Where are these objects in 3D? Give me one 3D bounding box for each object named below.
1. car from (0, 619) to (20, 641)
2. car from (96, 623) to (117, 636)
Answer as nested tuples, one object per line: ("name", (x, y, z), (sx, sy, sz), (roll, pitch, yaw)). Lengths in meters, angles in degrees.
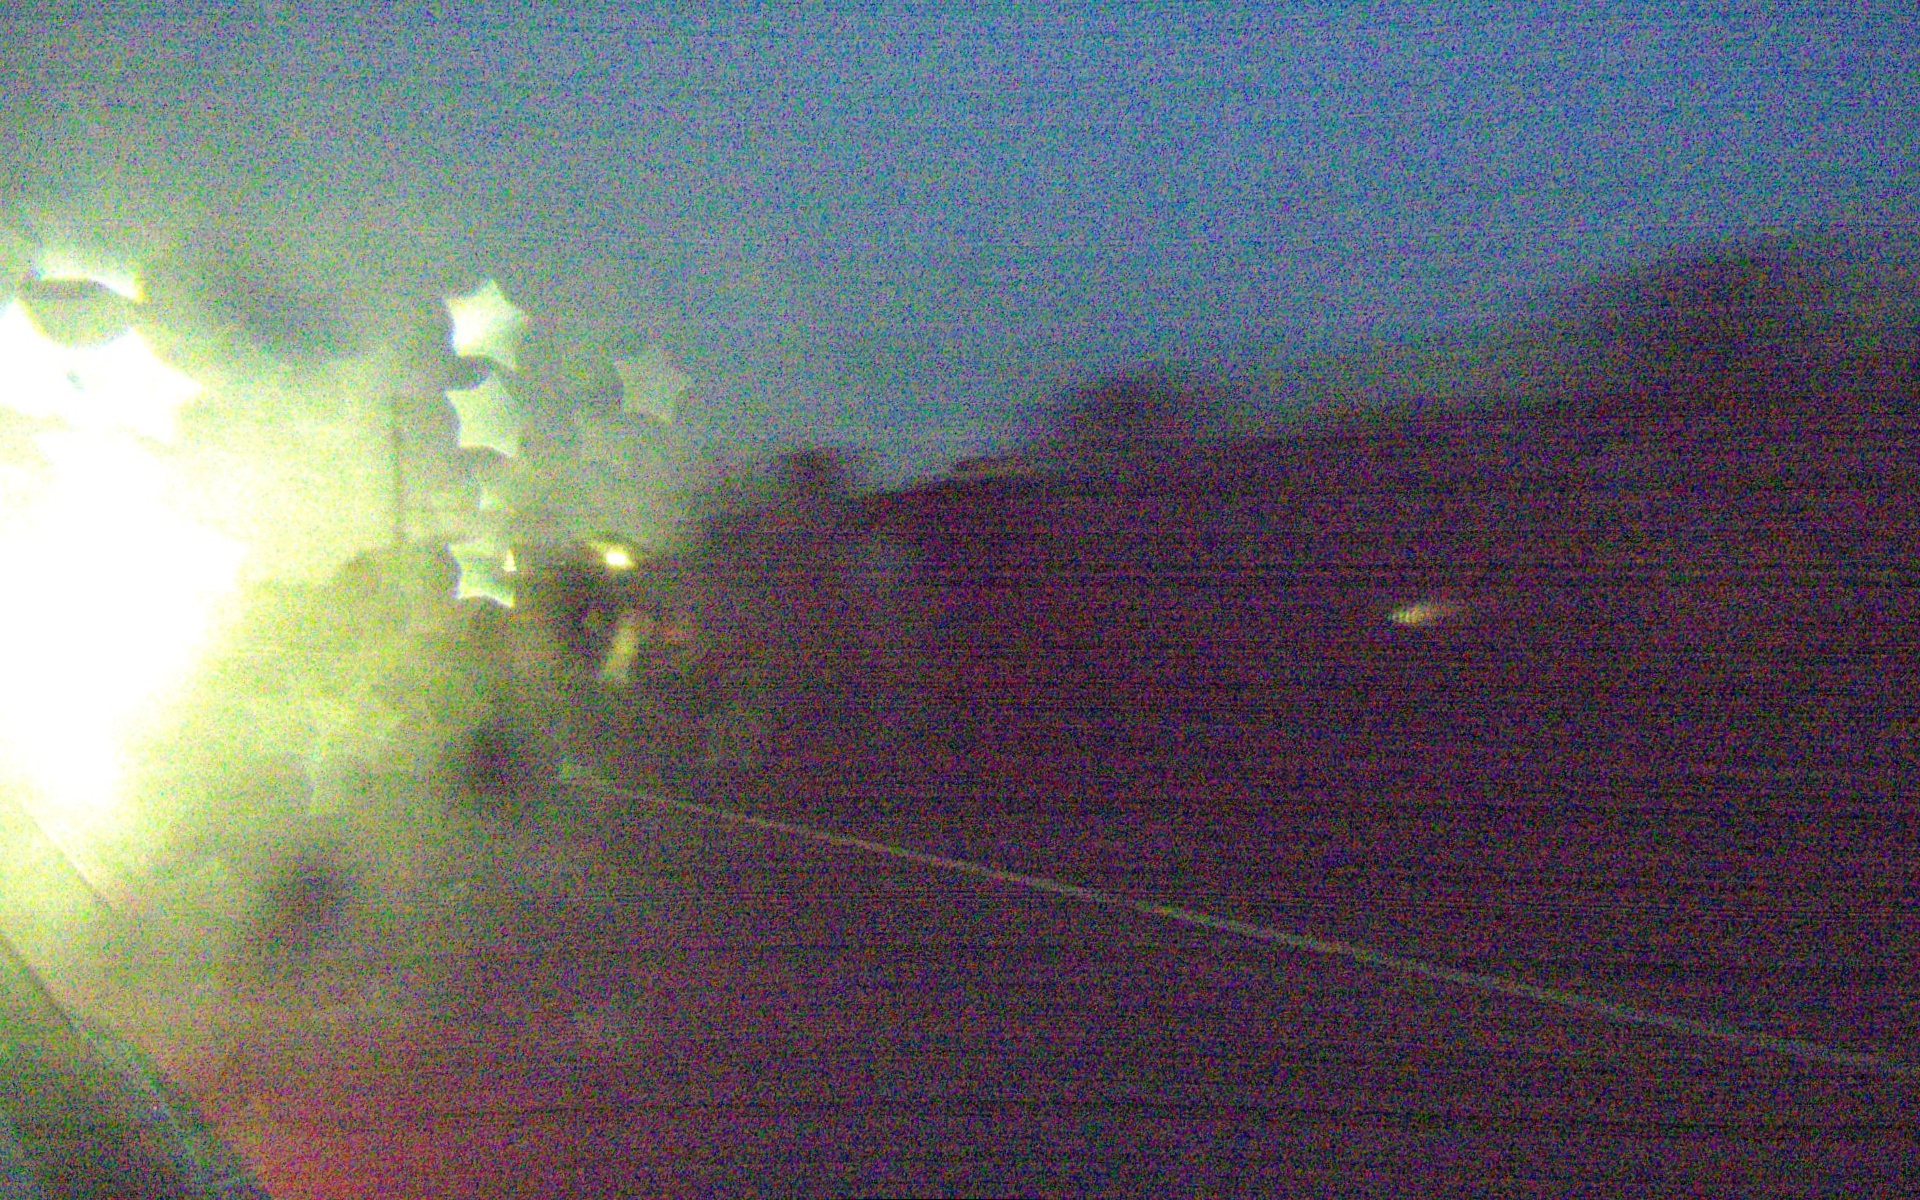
("car", (-71.810, 2.252, 76.029), (1.722, 1.646, 3.739), (0, -2, -44))
("car", (-106.210, 3.665, 125.950), (1.896, 1.658, 4.033), (0, -1, -38))
